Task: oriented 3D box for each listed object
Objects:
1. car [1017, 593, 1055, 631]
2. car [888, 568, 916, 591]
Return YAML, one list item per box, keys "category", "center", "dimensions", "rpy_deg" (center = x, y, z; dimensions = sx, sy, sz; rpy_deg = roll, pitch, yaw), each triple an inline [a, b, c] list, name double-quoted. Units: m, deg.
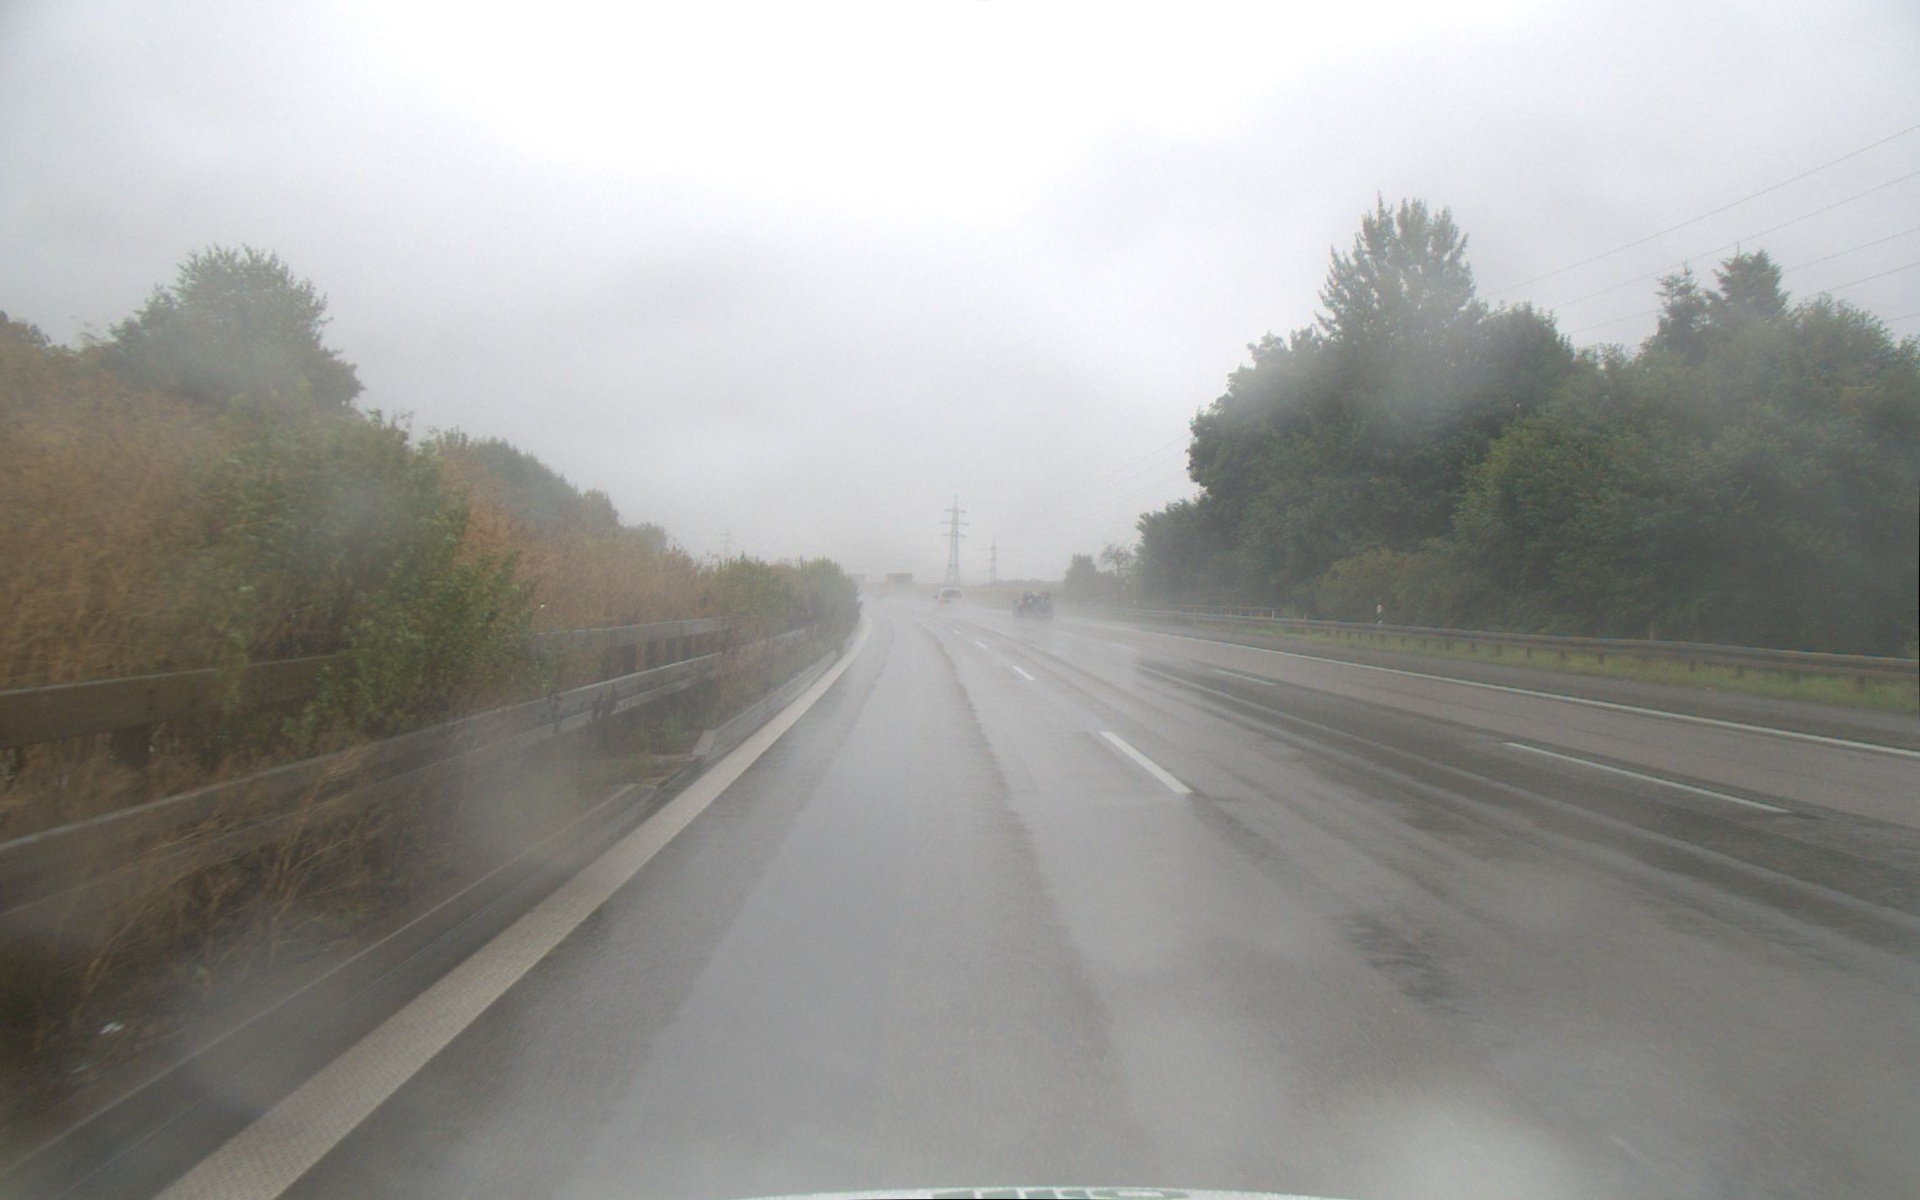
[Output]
- category: "car"
  center: [4.499, 0.696, 98.874]
  dimensions: [1.771, 2.196, 3.996]
  rpy_deg: [1, 0, -4]
- category: "car"
  center: [-8.517, -2.972, 241.933]
  dimensions: [3.140, 3.248, 7.243]
  rpy_deg: [1, 0, -8]
